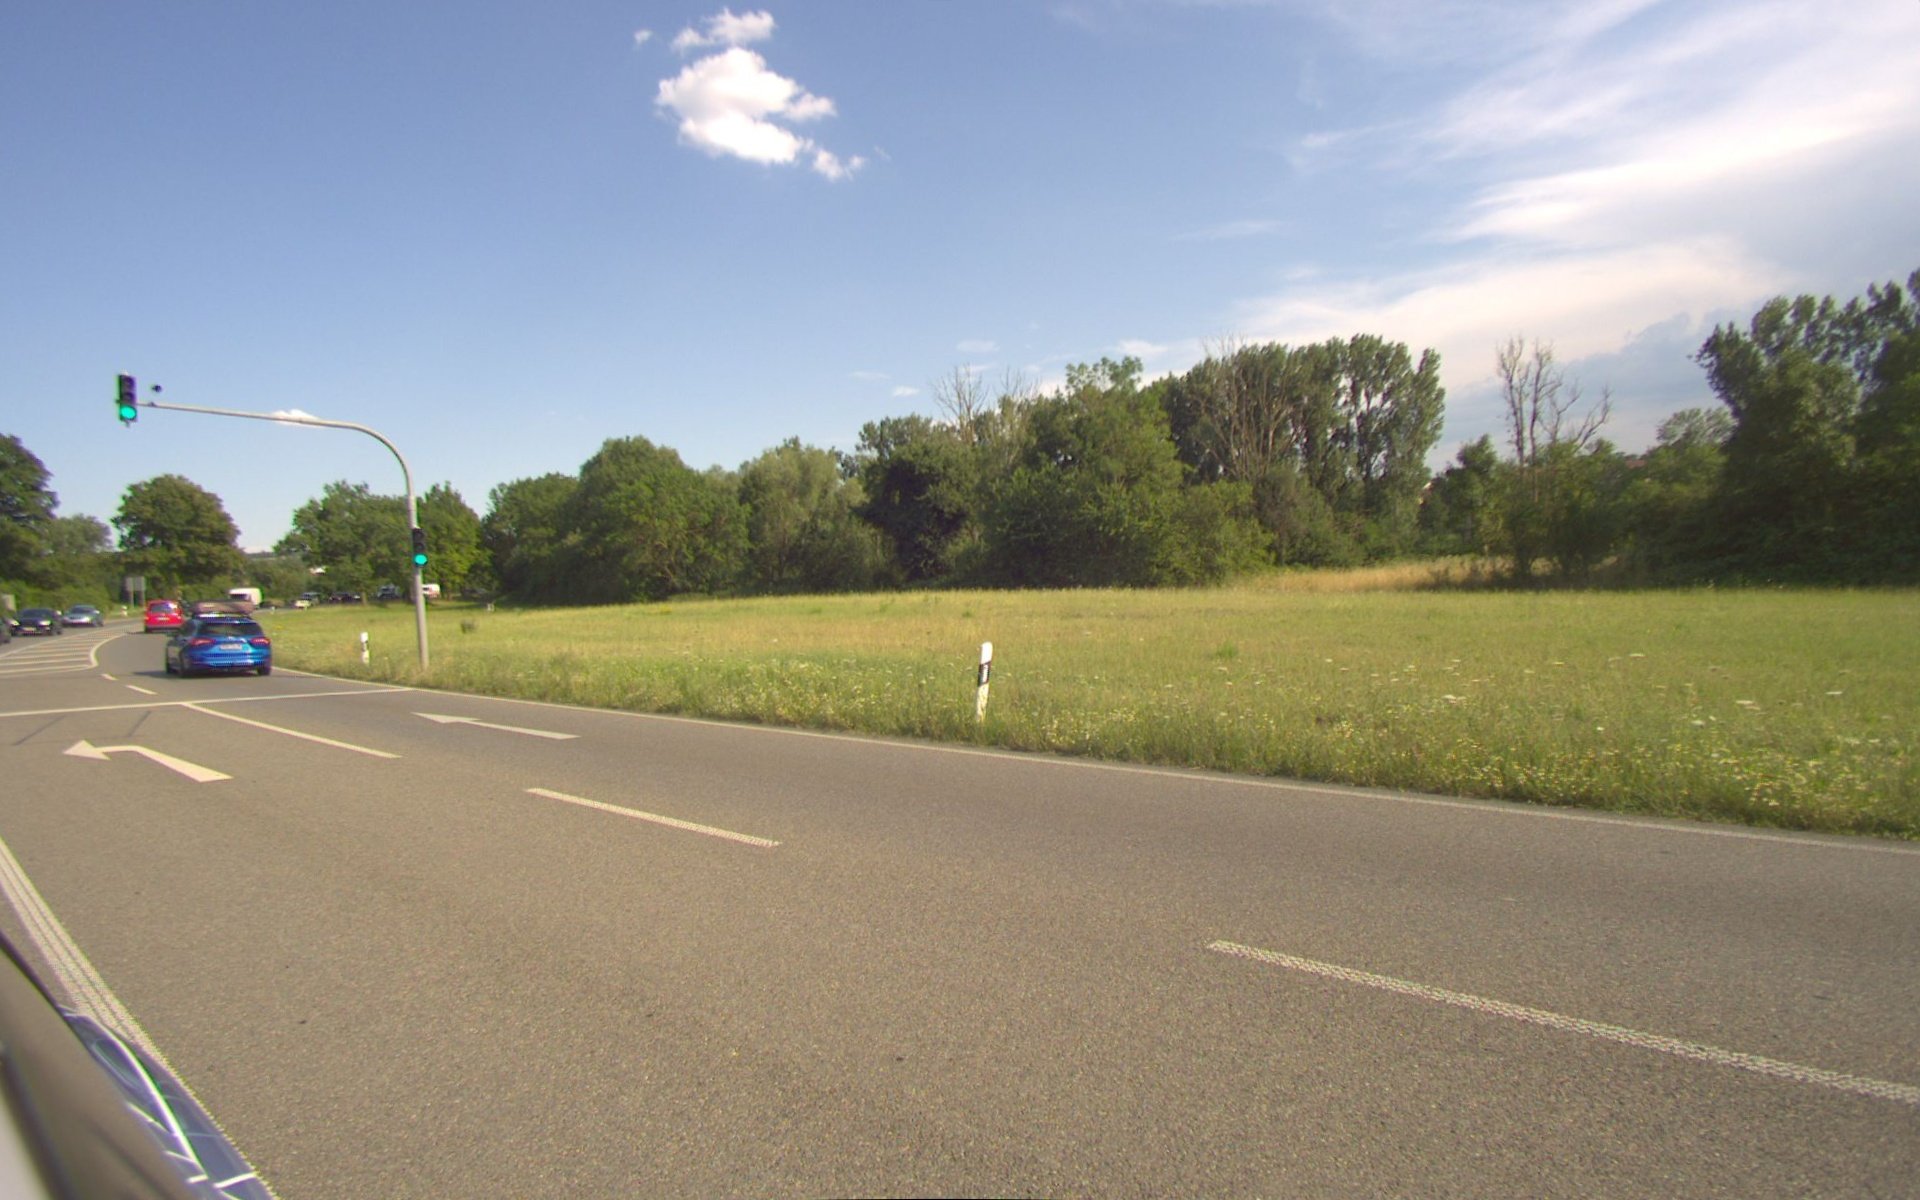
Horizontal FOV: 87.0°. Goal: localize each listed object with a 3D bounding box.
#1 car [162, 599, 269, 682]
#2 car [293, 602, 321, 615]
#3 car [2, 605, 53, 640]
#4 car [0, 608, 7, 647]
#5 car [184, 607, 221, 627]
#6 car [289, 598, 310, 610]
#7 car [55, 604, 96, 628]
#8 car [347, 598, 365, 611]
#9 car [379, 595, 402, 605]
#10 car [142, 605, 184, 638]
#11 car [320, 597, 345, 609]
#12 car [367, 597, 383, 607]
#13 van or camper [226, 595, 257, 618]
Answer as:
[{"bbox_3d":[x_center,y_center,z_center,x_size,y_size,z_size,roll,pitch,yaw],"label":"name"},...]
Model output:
[{"bbox_3d":[-18.615,0.966,25.230,1.704,1.897,4.340,0,-2,-43],"label":"car"},{"bbox_3d":[-89.979,1.168,139.473,1.967,1.563,4.011,-3,2,-14],"label":"car"},{"bbox_3d":[-49.786,1.155,54.075,1.648,1.741,3.676,0,0,-37],"label":"car"},{"bbox_3d":[-42.514,1.195,43.613,1.667,1.741,3.676,1,-1,-37],"label":"car"},{"bbox_3d":[-61.810,1.403,82.595,1.854,1.598,4.343,0,-1,-29],"label":"car"},{"bbox_3d":[-81.502,0.445,124.950,1.721,1.477,3.490,0,0,-25],"label":"car"},{"bbox_3d":[-59.703,1.057,68.334,1.608,1.570,3.427,0,0,-33],"label":"car"},{"bbox_3d":[-96.819,0.706,162.183,1.386,2.028,3.243,-3,2,-12],"label":"car"},{"bbox_3d":[-89.736,0.055,159.616,1.902,1.598,4.082,0,0,-9],"label":"car"},{"bbox_3d":[-46.157,1.247,58.583,1.856,1.789,4.329,0,-1,-39],"label":"car"},{"bbox_3d":[-93.877,0.424,151.465,1.966,1.563,4.012,-3,2,-15],"label":"car"},{"bbox_3d":[-98.960,0.412,171.290,1.395,1.560,3.174,-3,2,-12],"label":"car"},{"bbox_3d":[-82.632,0.746,116.433,2.000,2.494,5.094,-3,2,-26],"label":"van or camper"}]
